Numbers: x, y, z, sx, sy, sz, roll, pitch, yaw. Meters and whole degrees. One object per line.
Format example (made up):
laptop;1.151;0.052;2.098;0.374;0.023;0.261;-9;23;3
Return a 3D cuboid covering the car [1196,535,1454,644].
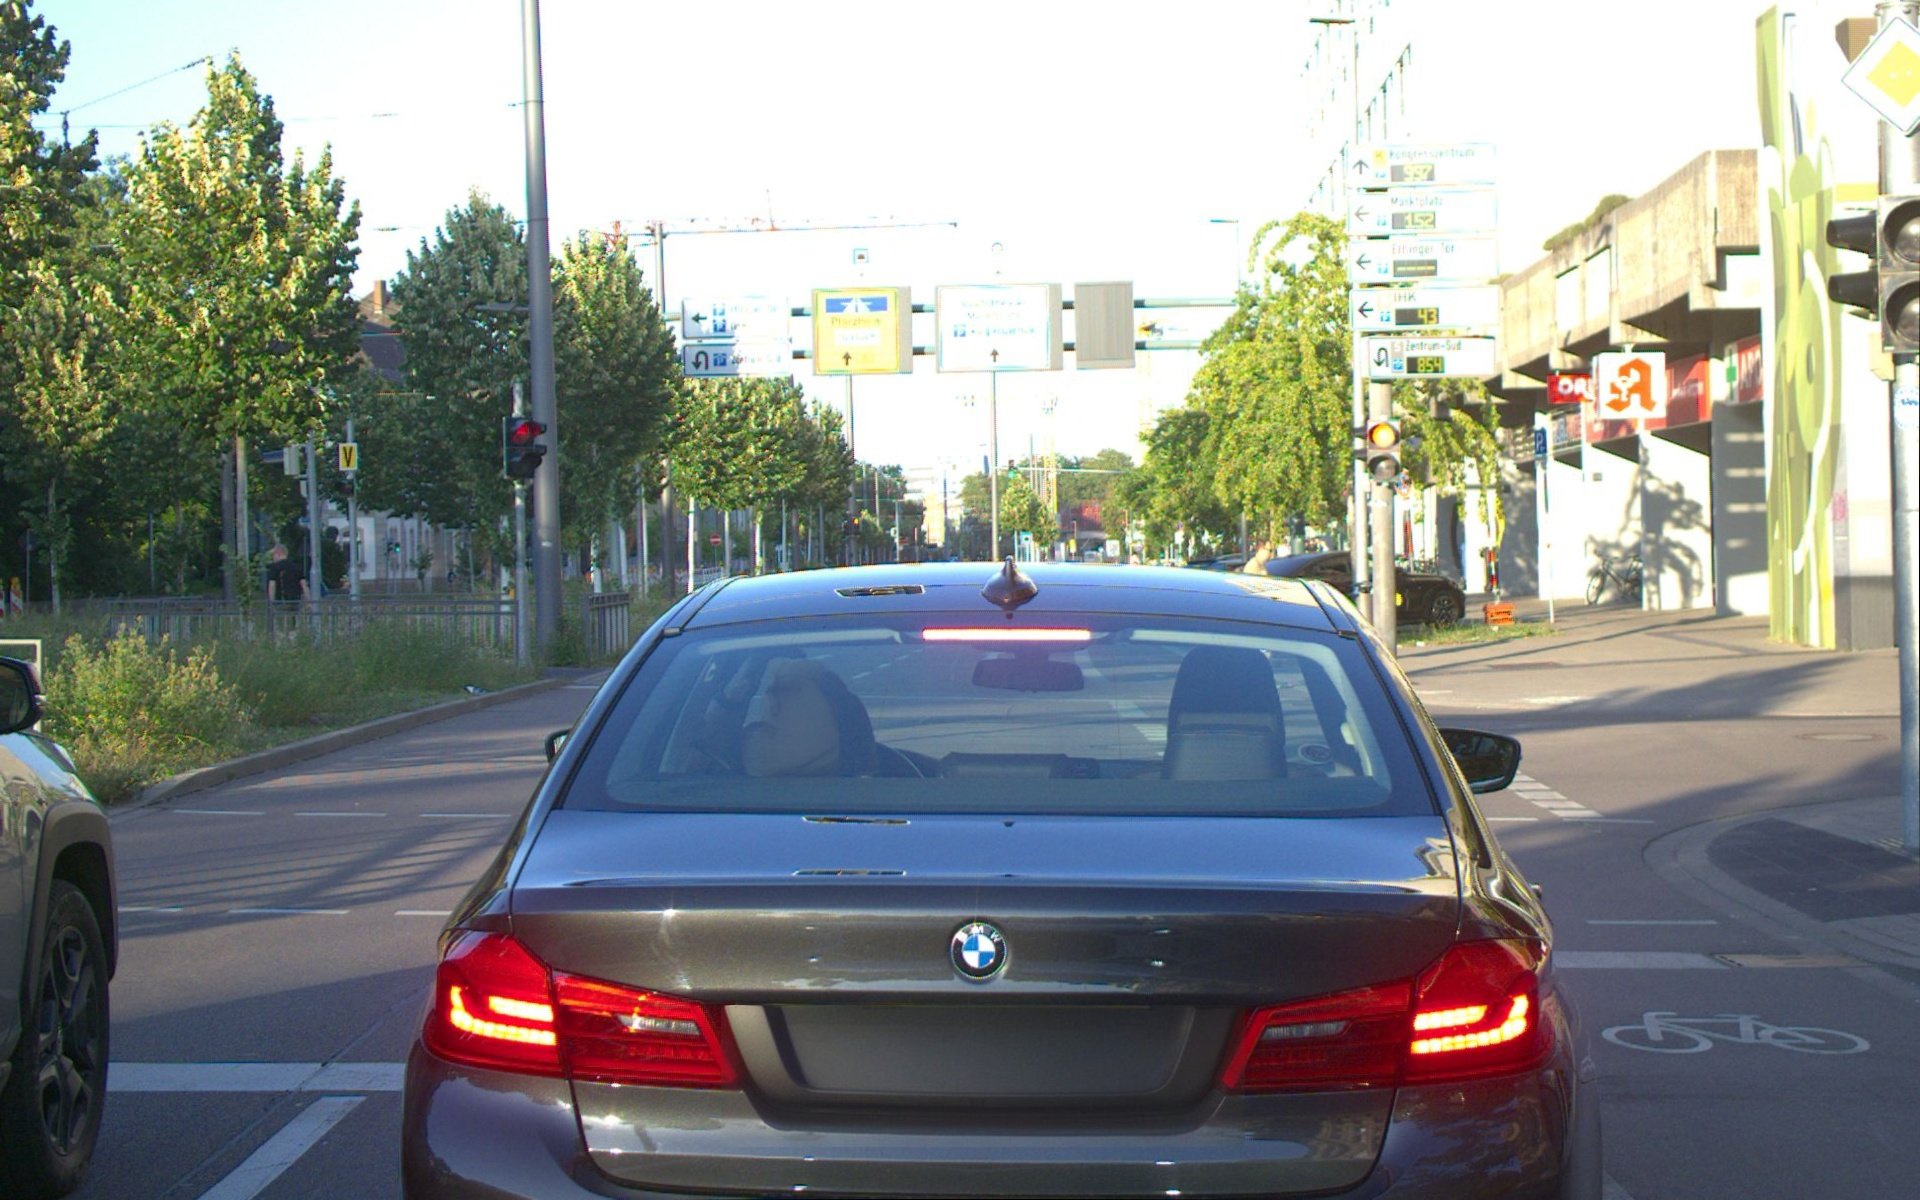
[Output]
car;6.036;-0.205;56.593;4.256;1.653;1.860;-2;3;-42

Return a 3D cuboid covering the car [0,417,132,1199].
car;-2.880;0.478;6.219;1.854;1.653;4.269;0;2;-2

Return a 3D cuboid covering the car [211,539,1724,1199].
car;0.041;0.661;6.670;1.932;1.476;4.522;0;2;1

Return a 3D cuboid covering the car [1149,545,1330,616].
car;6.926;-0.513;85.153;4.255;1.653;1.860;-1;2;-35

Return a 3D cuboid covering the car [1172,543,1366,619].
car;7.126;-0.458;79.090;4.255;1.653;1.860;-1;2;-35

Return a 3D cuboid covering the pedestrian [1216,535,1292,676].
pedestrian;3.626;0.060;42.415;0.835;1.706;0.648;-1;1;-1

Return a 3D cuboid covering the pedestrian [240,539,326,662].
pedestrian;-8.922;0.001;45.353;0.835;1.581;0.812;-1;1;11

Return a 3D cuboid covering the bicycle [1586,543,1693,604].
bicycle;13.625;-0.525;68.965;2.017;1.145;0.690;2;0;7

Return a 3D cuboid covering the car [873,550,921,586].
car;-2.663;-1.388;146.946;1.979;1.428;4.843;0;2;0
